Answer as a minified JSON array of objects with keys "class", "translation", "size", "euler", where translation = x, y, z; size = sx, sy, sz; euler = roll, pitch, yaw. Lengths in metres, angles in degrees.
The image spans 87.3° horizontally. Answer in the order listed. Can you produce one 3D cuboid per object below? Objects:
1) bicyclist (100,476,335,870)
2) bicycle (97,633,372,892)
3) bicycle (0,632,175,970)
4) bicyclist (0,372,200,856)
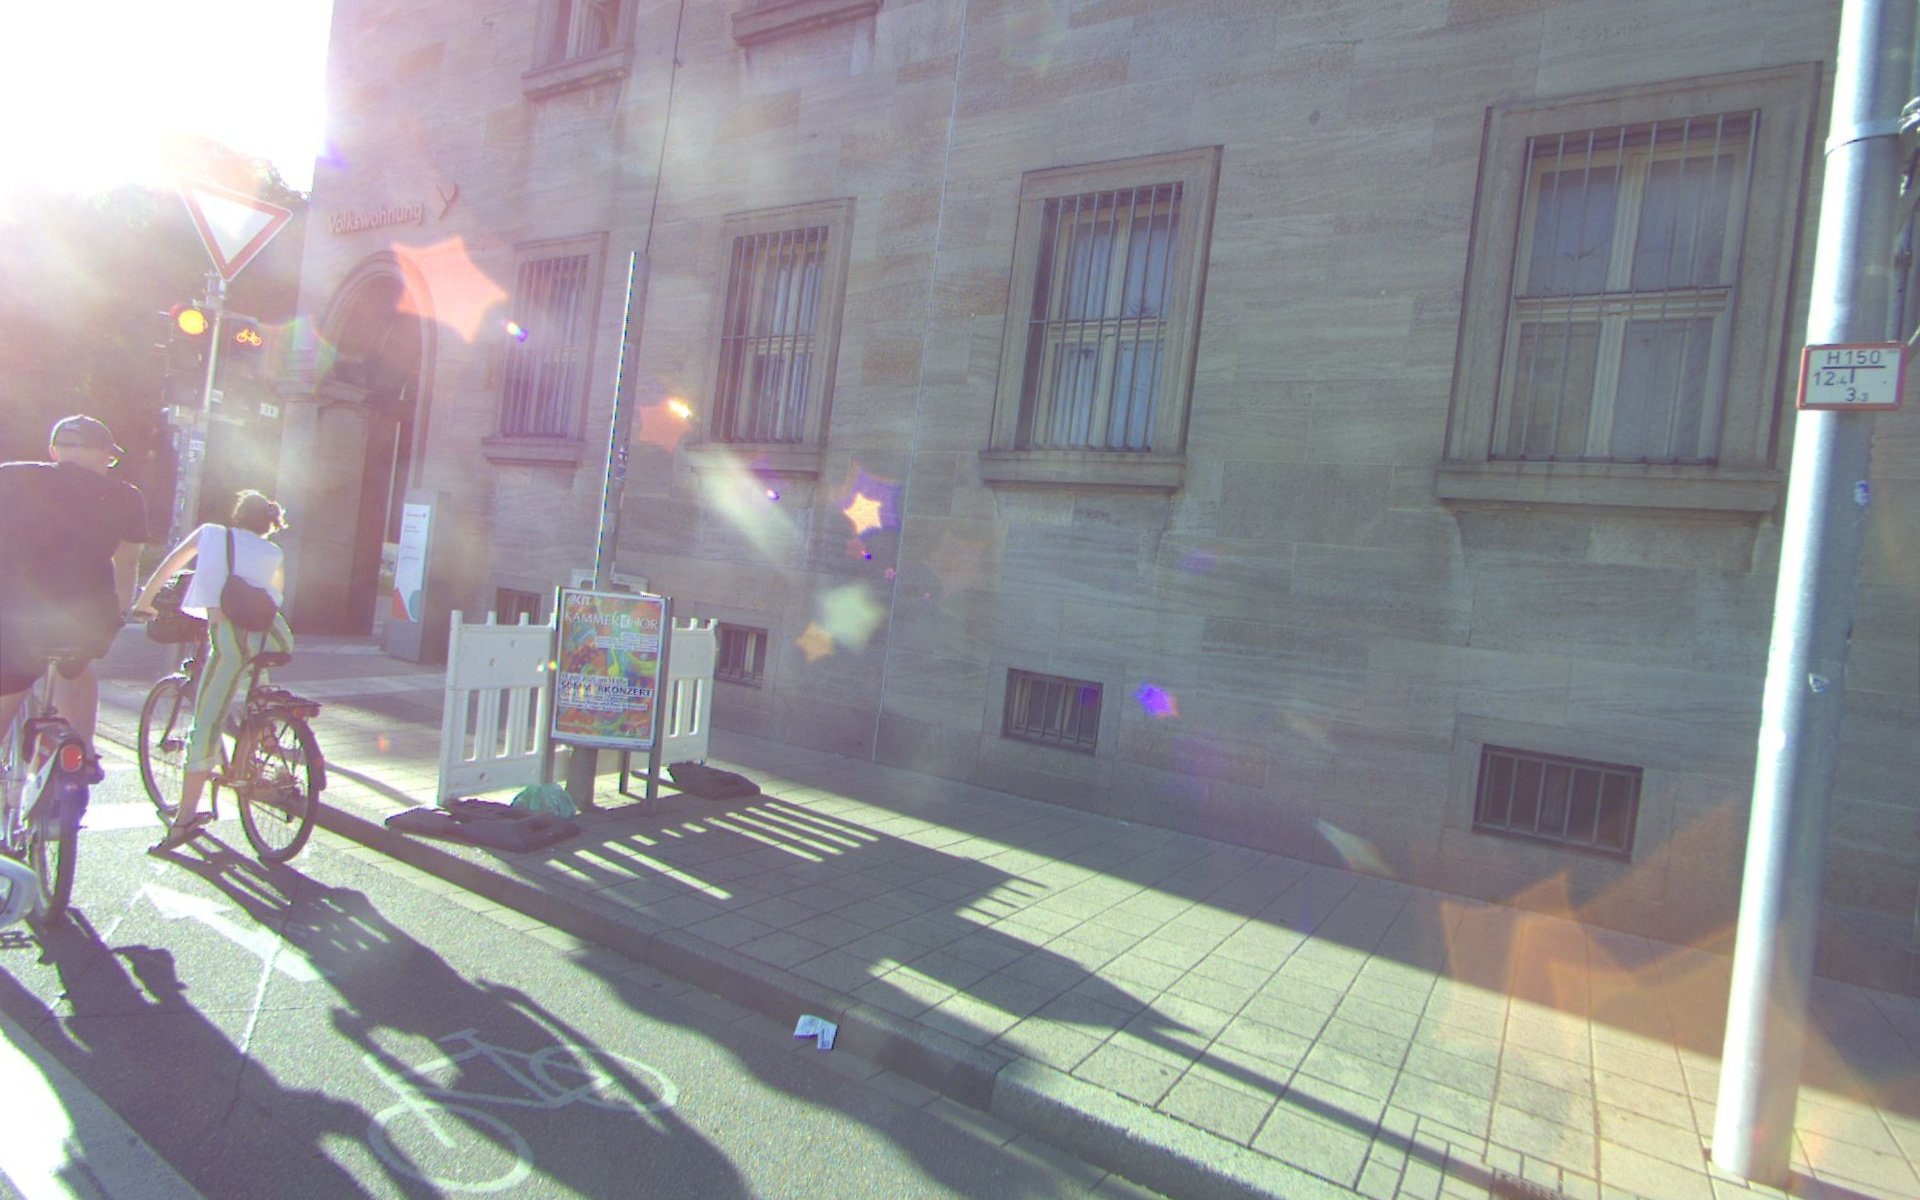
[{"class":"bicyclist","translation":[-3.558,0.311,4.817],"size":[0.845,1.700,0.522],"euler":[7,1,35]},{"class":"bicycle","translation":[-3.648,0.724,4.986],"size":[1.920,0.887,0.427],"euler":[7,0,35]},{"class":"bicycle","translation":[-3.697,0.694,4.067],"size":[1.923,0.916,0.388],"euler":[7,0,41]},{"class":"bicyclist","translation":[-3.501,0.051,3.863],"size":[0.647,1.698,0.669],"euler":[7,1,40]}]
